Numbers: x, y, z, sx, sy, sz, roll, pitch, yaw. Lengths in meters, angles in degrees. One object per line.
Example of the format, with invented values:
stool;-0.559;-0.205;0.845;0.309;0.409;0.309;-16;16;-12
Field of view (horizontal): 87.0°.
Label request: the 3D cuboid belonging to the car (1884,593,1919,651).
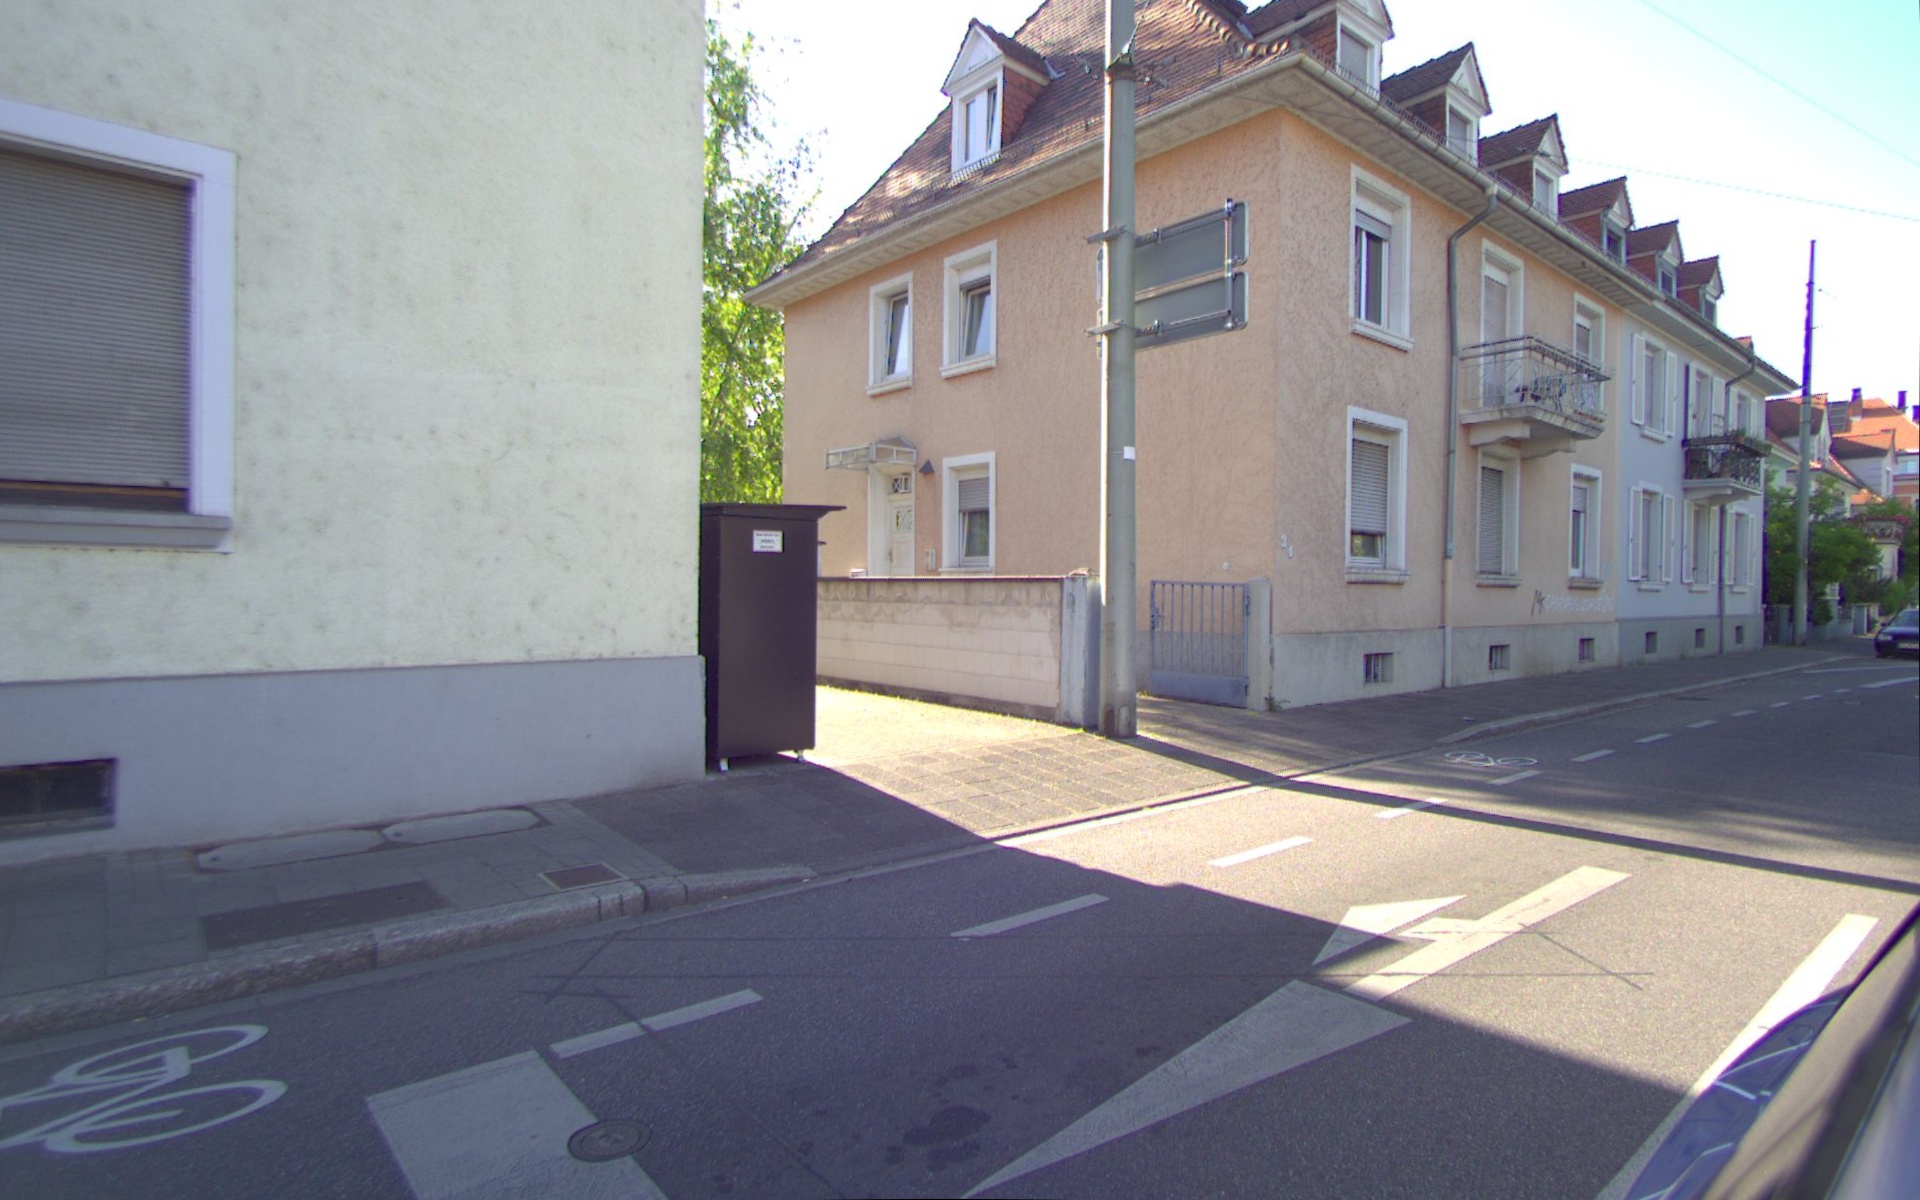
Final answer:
car;26.803;0.581;27.423;3.925;1.504;1.883;0;1;-37
